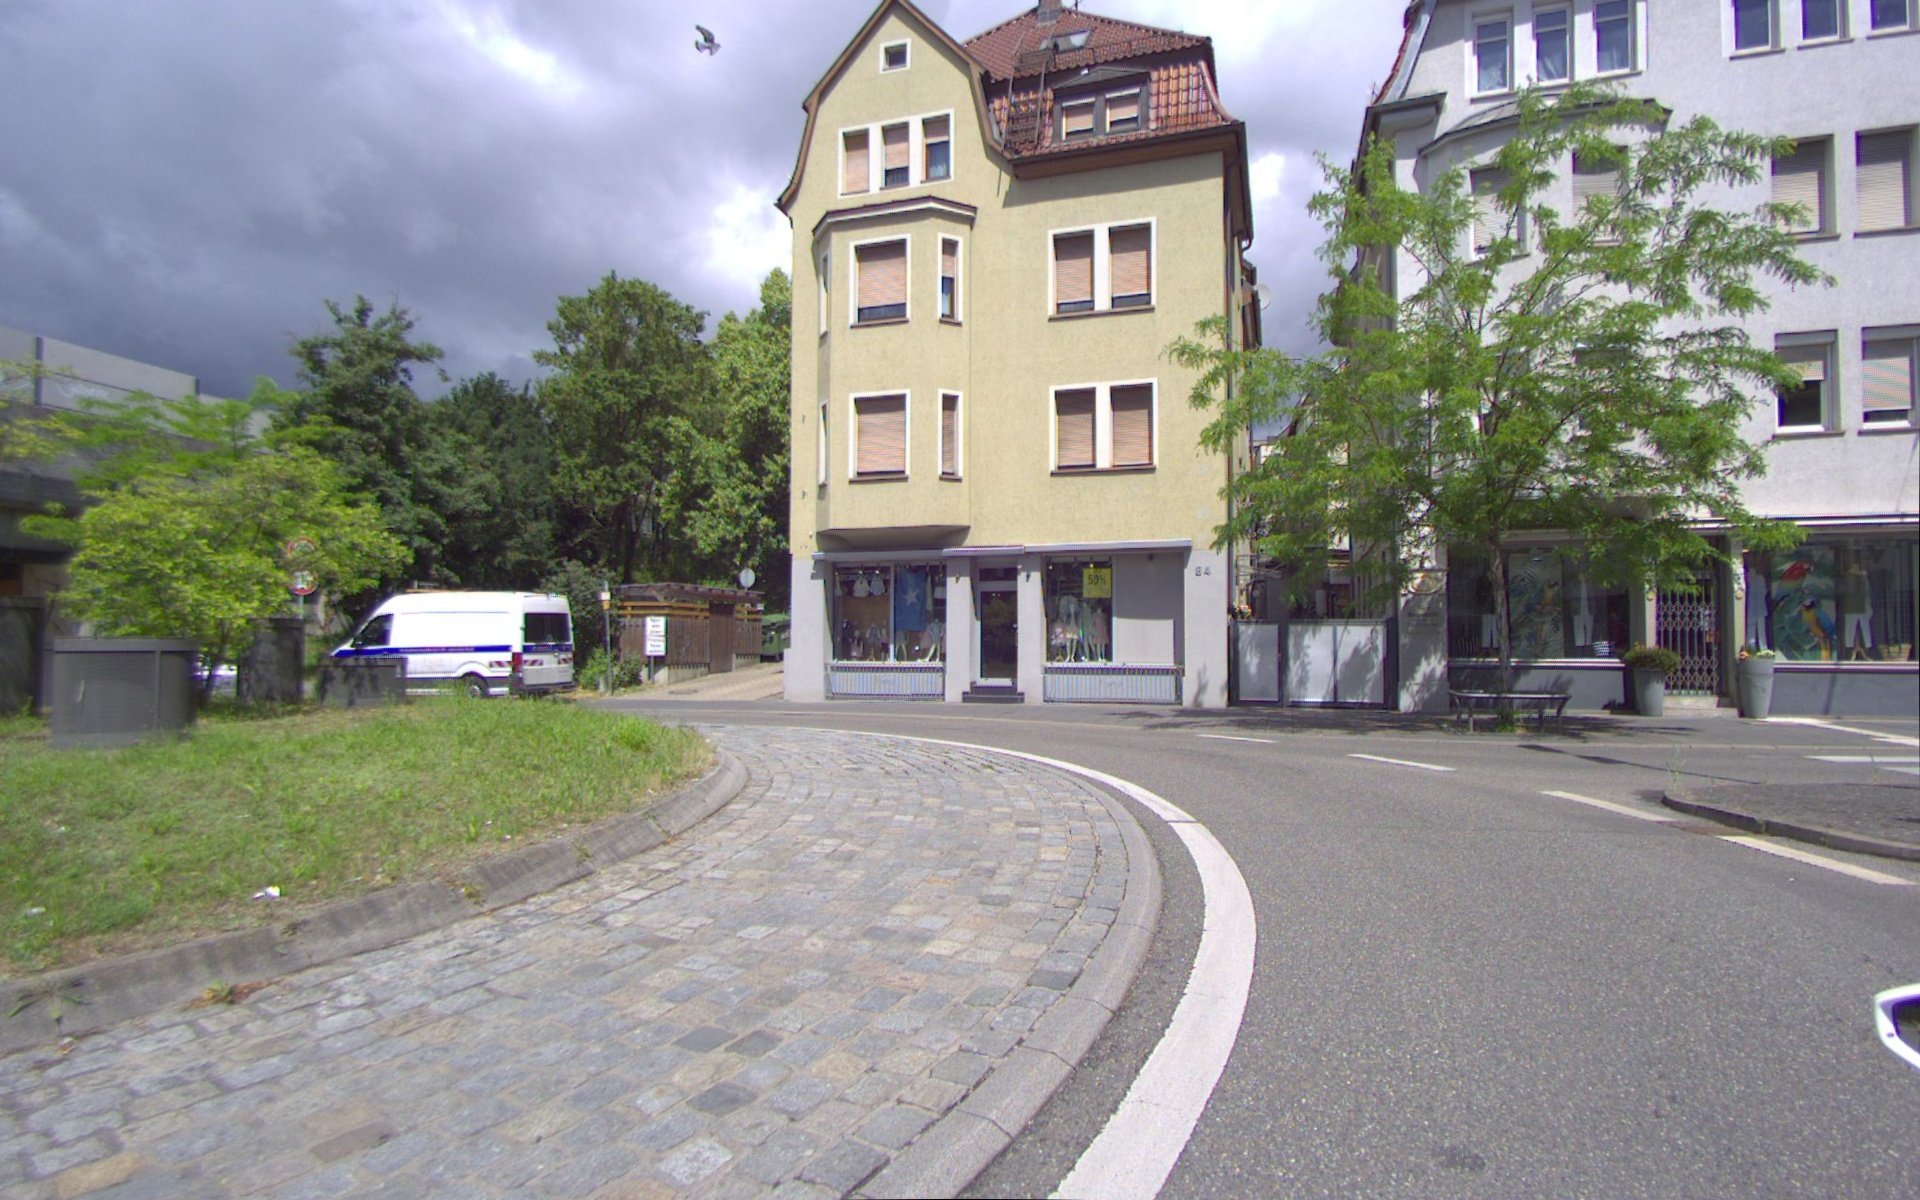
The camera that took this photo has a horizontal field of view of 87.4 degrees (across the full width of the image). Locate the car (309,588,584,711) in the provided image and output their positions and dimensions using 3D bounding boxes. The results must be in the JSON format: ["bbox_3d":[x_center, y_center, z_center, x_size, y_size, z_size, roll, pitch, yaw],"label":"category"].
[{"bbox_3d":[-11.841,1.140,23.197,5.811,2.641,1.975,-1,-1,15],"label":"car"}]

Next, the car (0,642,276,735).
[{"bbox_3d":[-13.867,1.413,16.618,3.944,1.372,1.705,0,-2,-24],"label":"car"}]
